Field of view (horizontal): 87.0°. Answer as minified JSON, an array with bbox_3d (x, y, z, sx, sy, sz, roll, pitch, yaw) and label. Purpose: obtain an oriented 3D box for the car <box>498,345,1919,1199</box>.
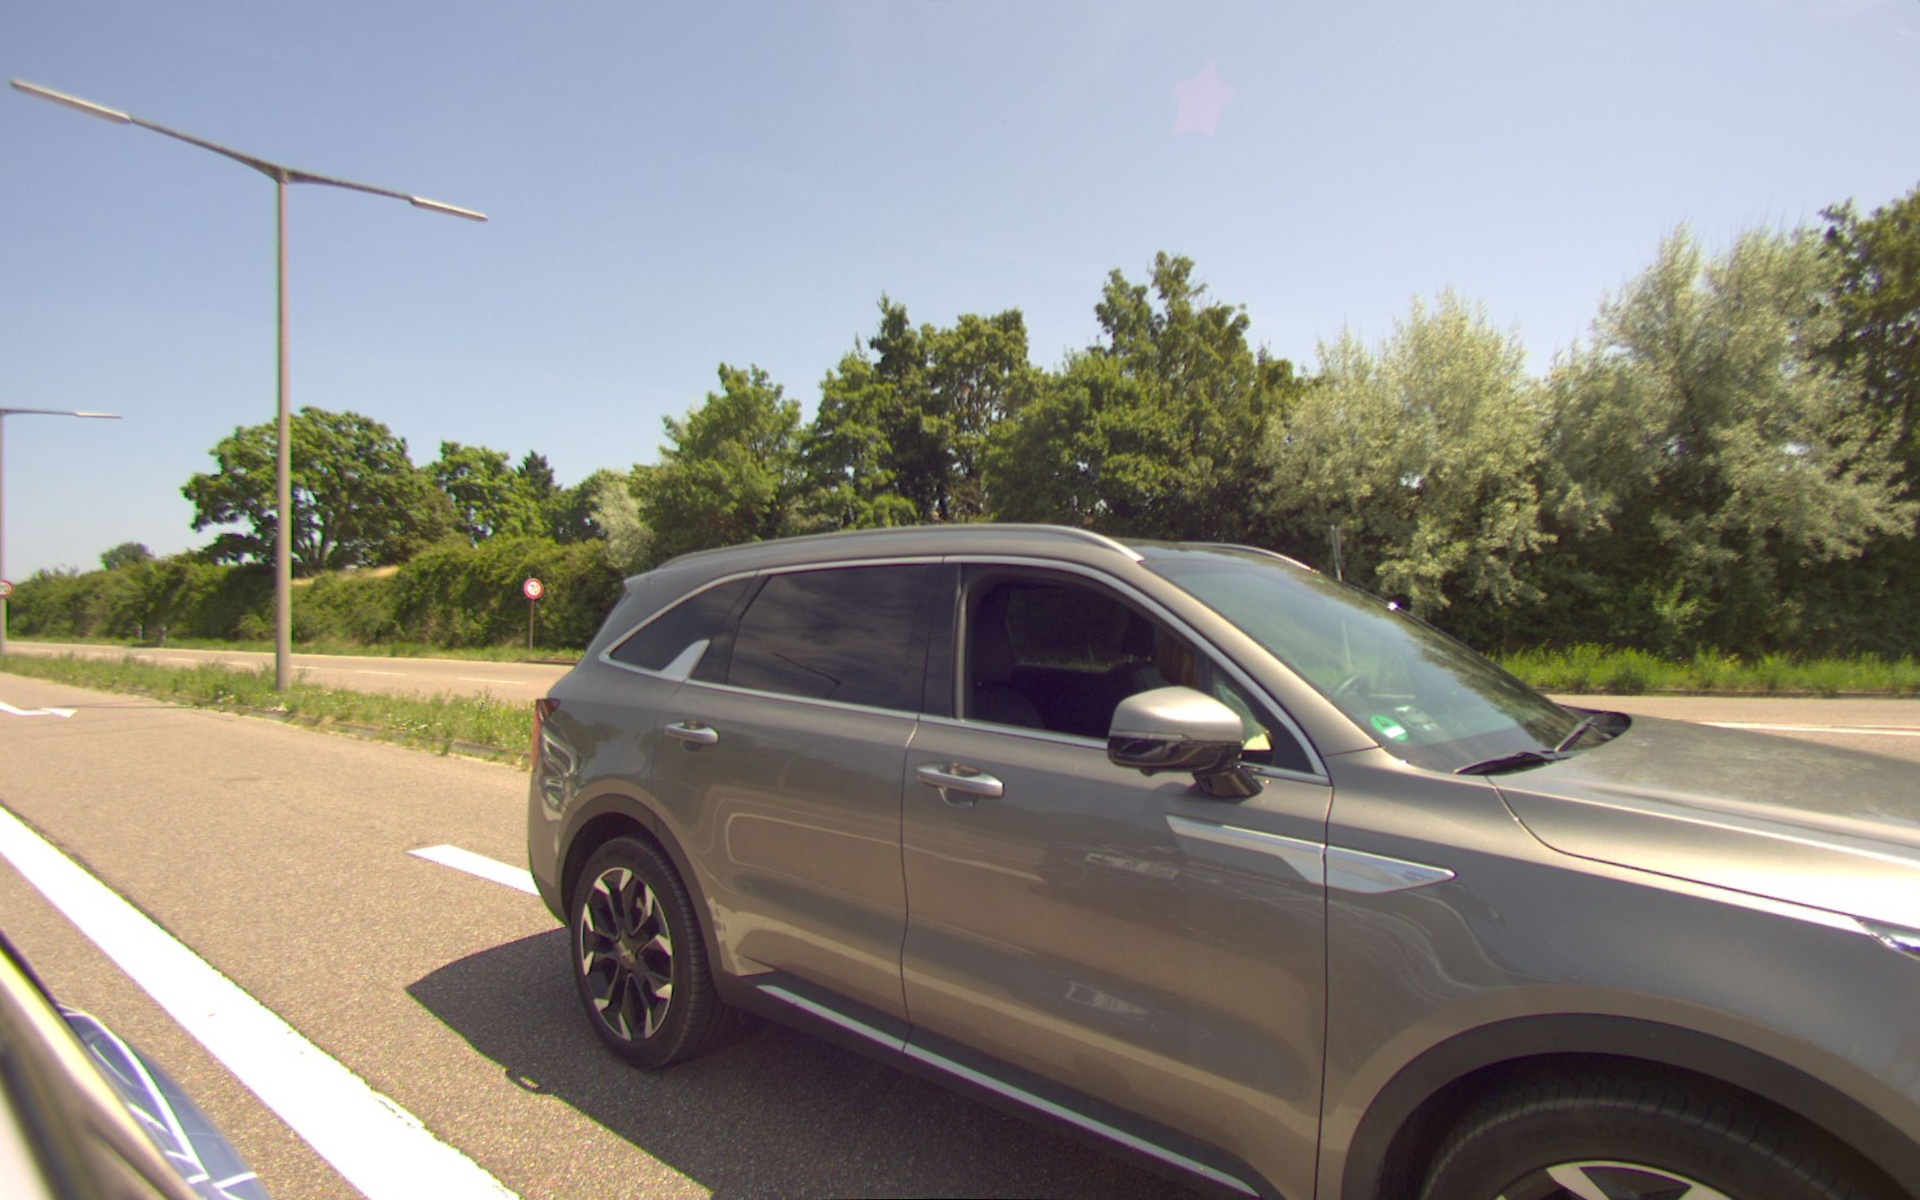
[{"bbox_3d":[0.585,0.562,2.939,4.528,1.681,1.762,-2,-2,40],"label":"car"}]
